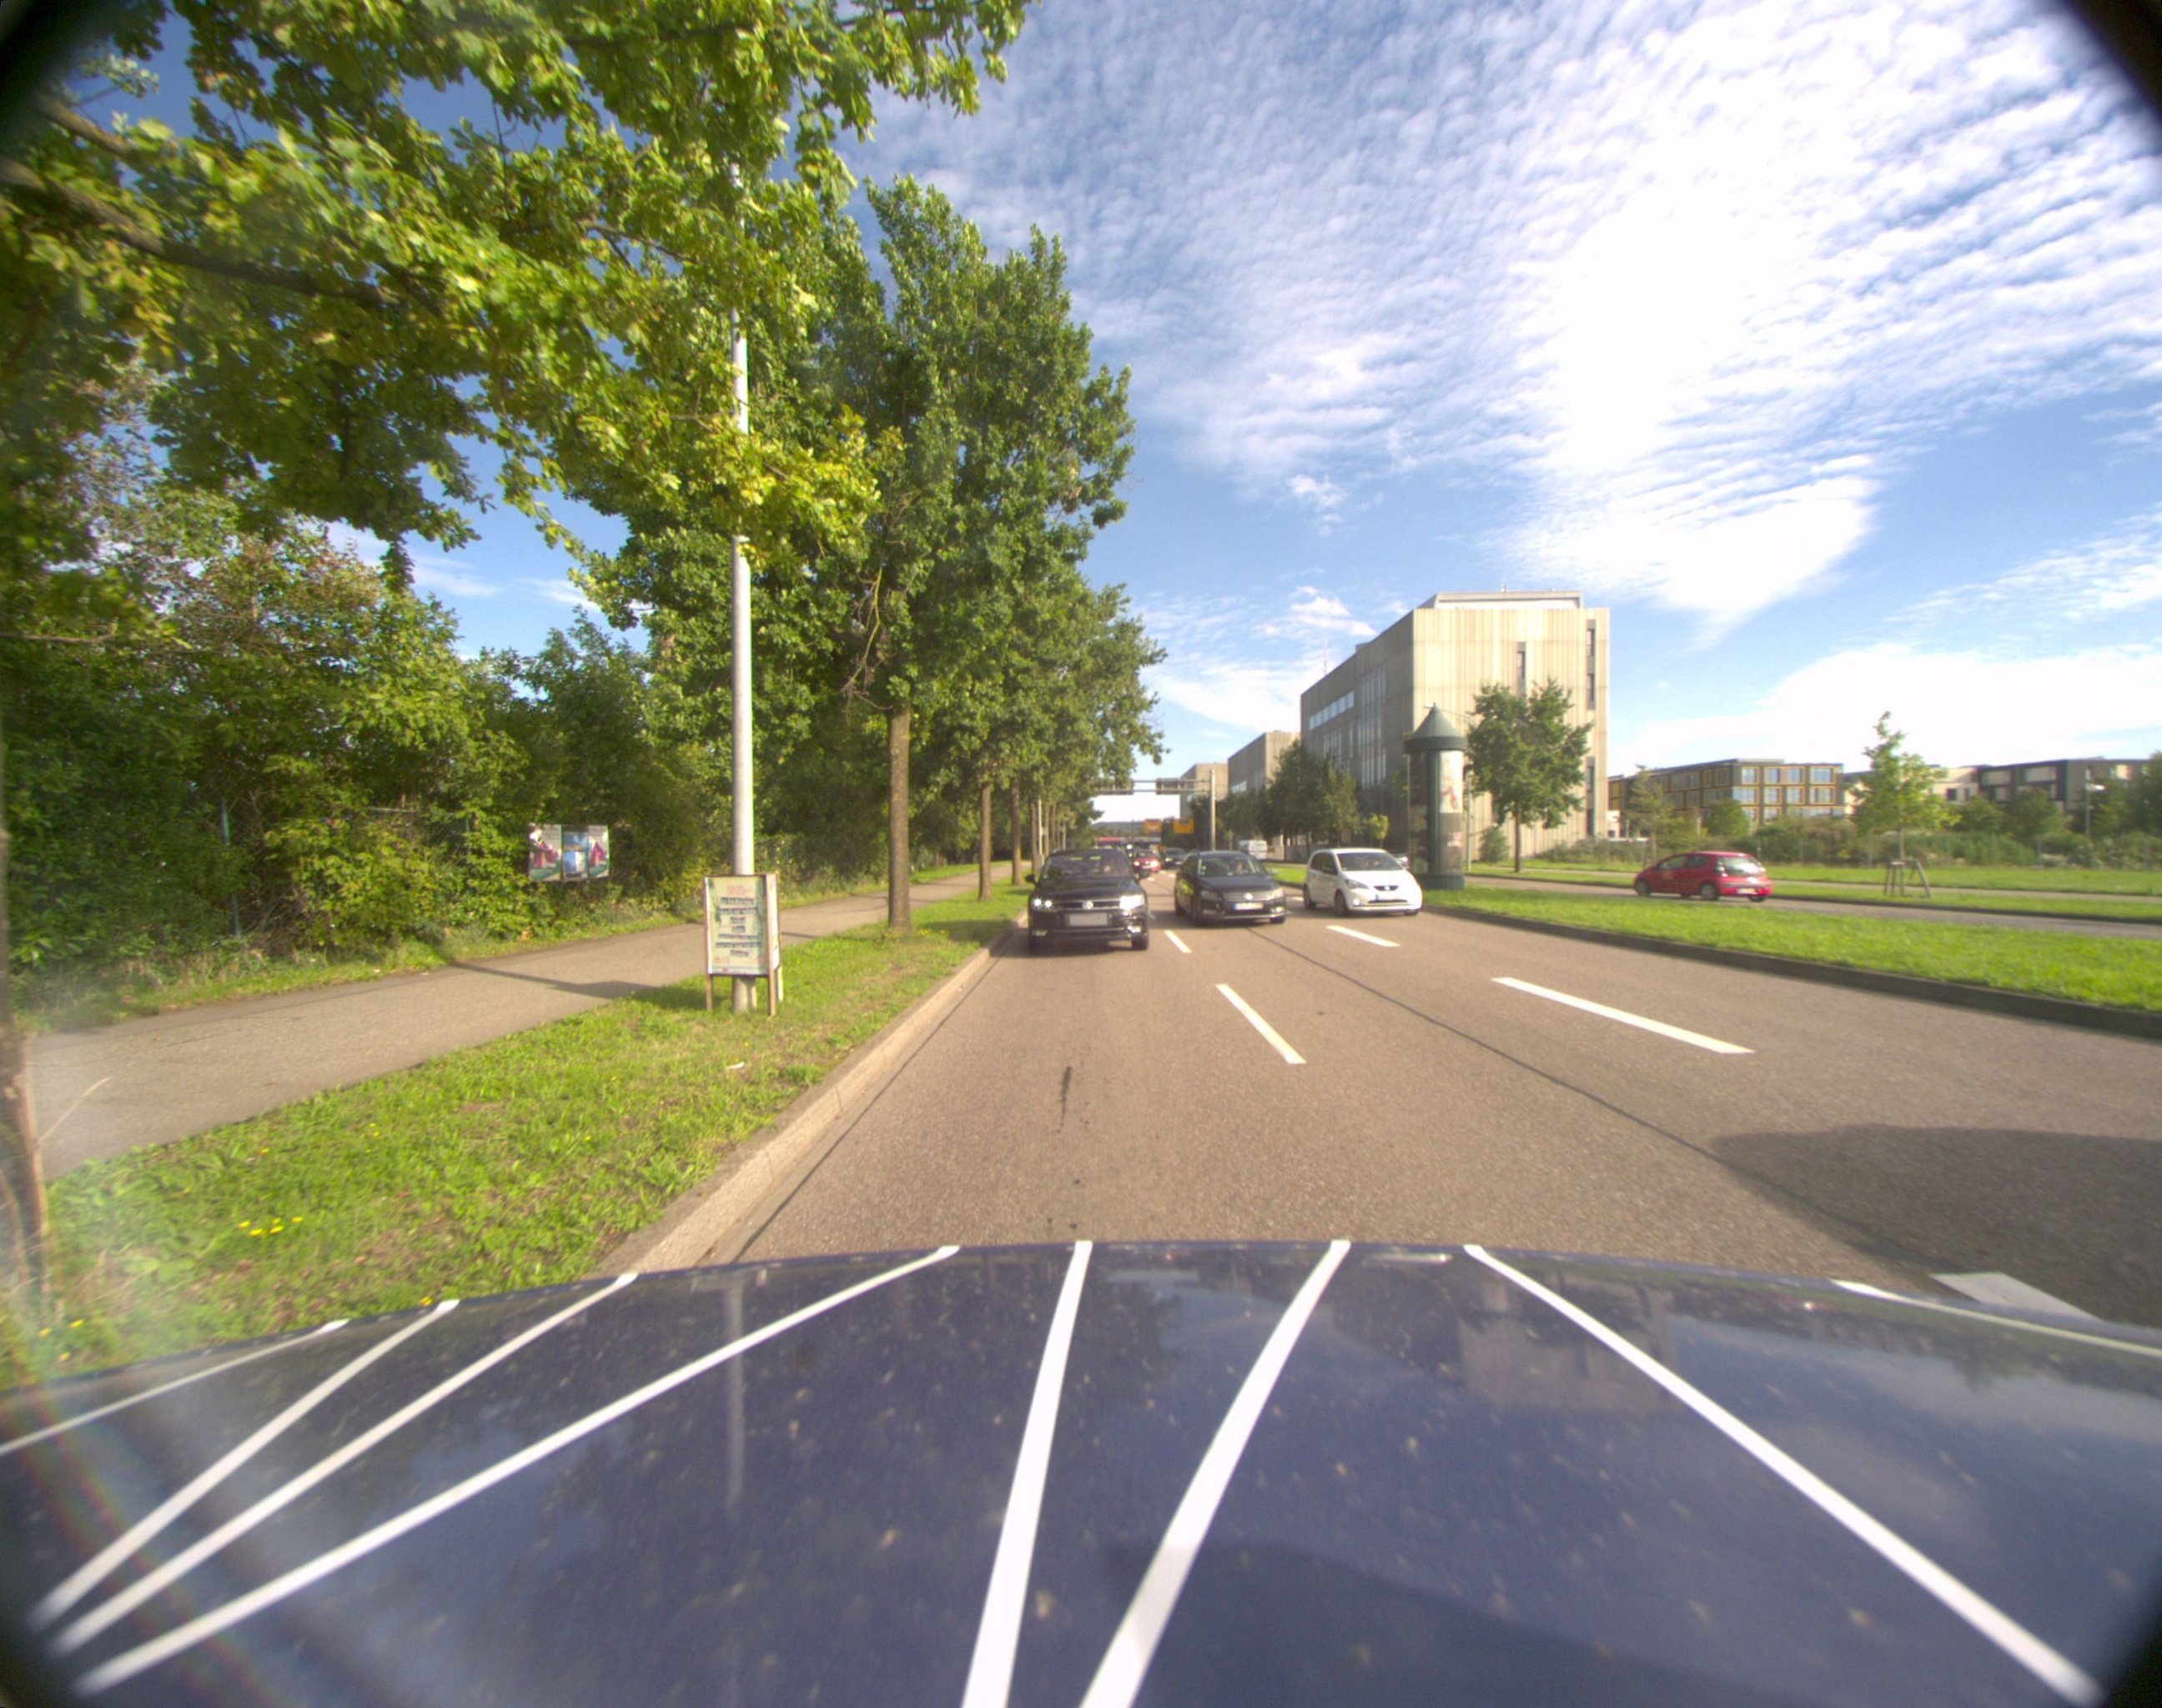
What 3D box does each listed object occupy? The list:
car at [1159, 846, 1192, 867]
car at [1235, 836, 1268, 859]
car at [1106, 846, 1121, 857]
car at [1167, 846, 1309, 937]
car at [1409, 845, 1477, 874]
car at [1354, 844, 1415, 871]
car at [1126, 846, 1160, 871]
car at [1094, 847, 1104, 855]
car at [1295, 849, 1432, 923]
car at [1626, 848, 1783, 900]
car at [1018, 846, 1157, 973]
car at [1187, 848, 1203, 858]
[{"bbox_3d":[6.667,0.142,54.043,1.823,1.412,4.446,-2,1,0],"label":"car"},{"bbox_3d":[17.203,-0.658,76.768,2.032,2.241,5.541,1,1,0],"label":"car"},{"bbox_3d":[4.837,-0.386,114.797,1.999,1.652,4.802,0,1,0],"label":"car"},{"bbox_3d":[3.132,0.661,16.240,1.998,1.557,4.844,-3,1,0],"label":"car"},{"bbox_3d":[21.157,0.299,44.600,1.855,1.563,4.454,1,1,1],"label":"car"},{"bbox_3d":[17.176,0.180,43.262,1.855,1.425,4.067,1,1,0],"label":"car"},{"bbox_3d":[3.885,0.251,48.166,1.694,1.466,4.226,-1,1,-1],"label":"car"},{"bbox_3d":[3.156,-0.581,132.915,1.736,1.381,4.000,0,1,1],"label":"car"},{"bbox_3d":[6.218,0.629,17.170,1.766,1.456,3.659,-1,1,1],"label":"car"},{"bbox_3d":[18.612,0.550,22.907,1.685,1.425,3.589,0,1,-3],"label":"car"},{"bbox_3d":[0.120,0.755,13.231,1.871,1.685,5.014,-3,1,1],"label":"car"},{"bbox_3d":[18.715,-0.177,124.848,1.855,1.456,4.454,-1,1,1],"label":"car"}]
